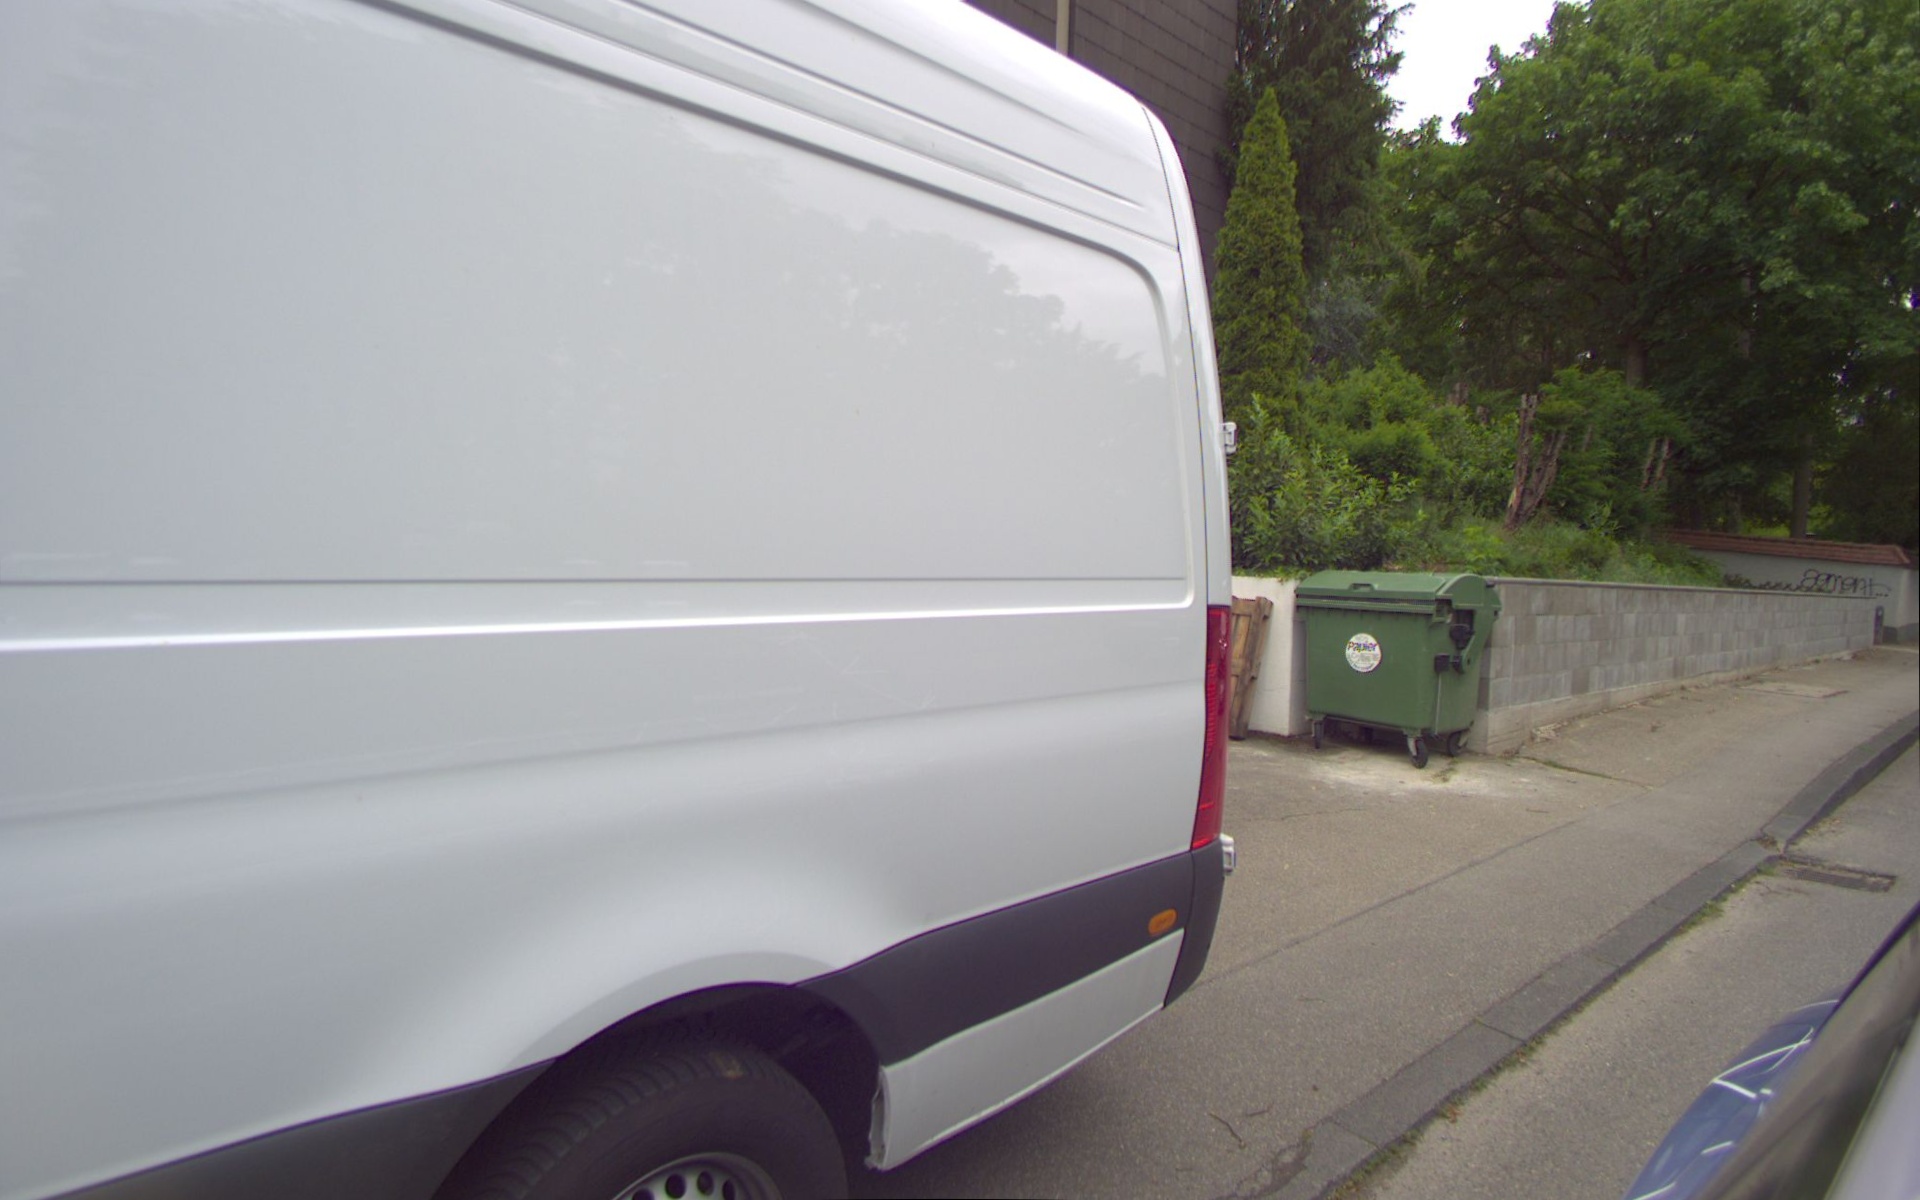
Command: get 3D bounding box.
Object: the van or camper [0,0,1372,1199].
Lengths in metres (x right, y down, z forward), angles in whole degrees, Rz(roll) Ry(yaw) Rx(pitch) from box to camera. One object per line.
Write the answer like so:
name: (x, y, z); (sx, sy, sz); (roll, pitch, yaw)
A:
van or camper: (-2.242, -0.038, 0.939); (6.430, 2.656, 1.996); (-1, 6, -41)

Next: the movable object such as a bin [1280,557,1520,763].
movable object such as a bin: (3.518, 0.400, 8.148); (1.096, 1.469, 1.407); (-1, 3, -40)

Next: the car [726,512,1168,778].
car: (-0.348, 0.169, 8.438); (1.712, 1.671, 3.914); (0, 3, -36)
